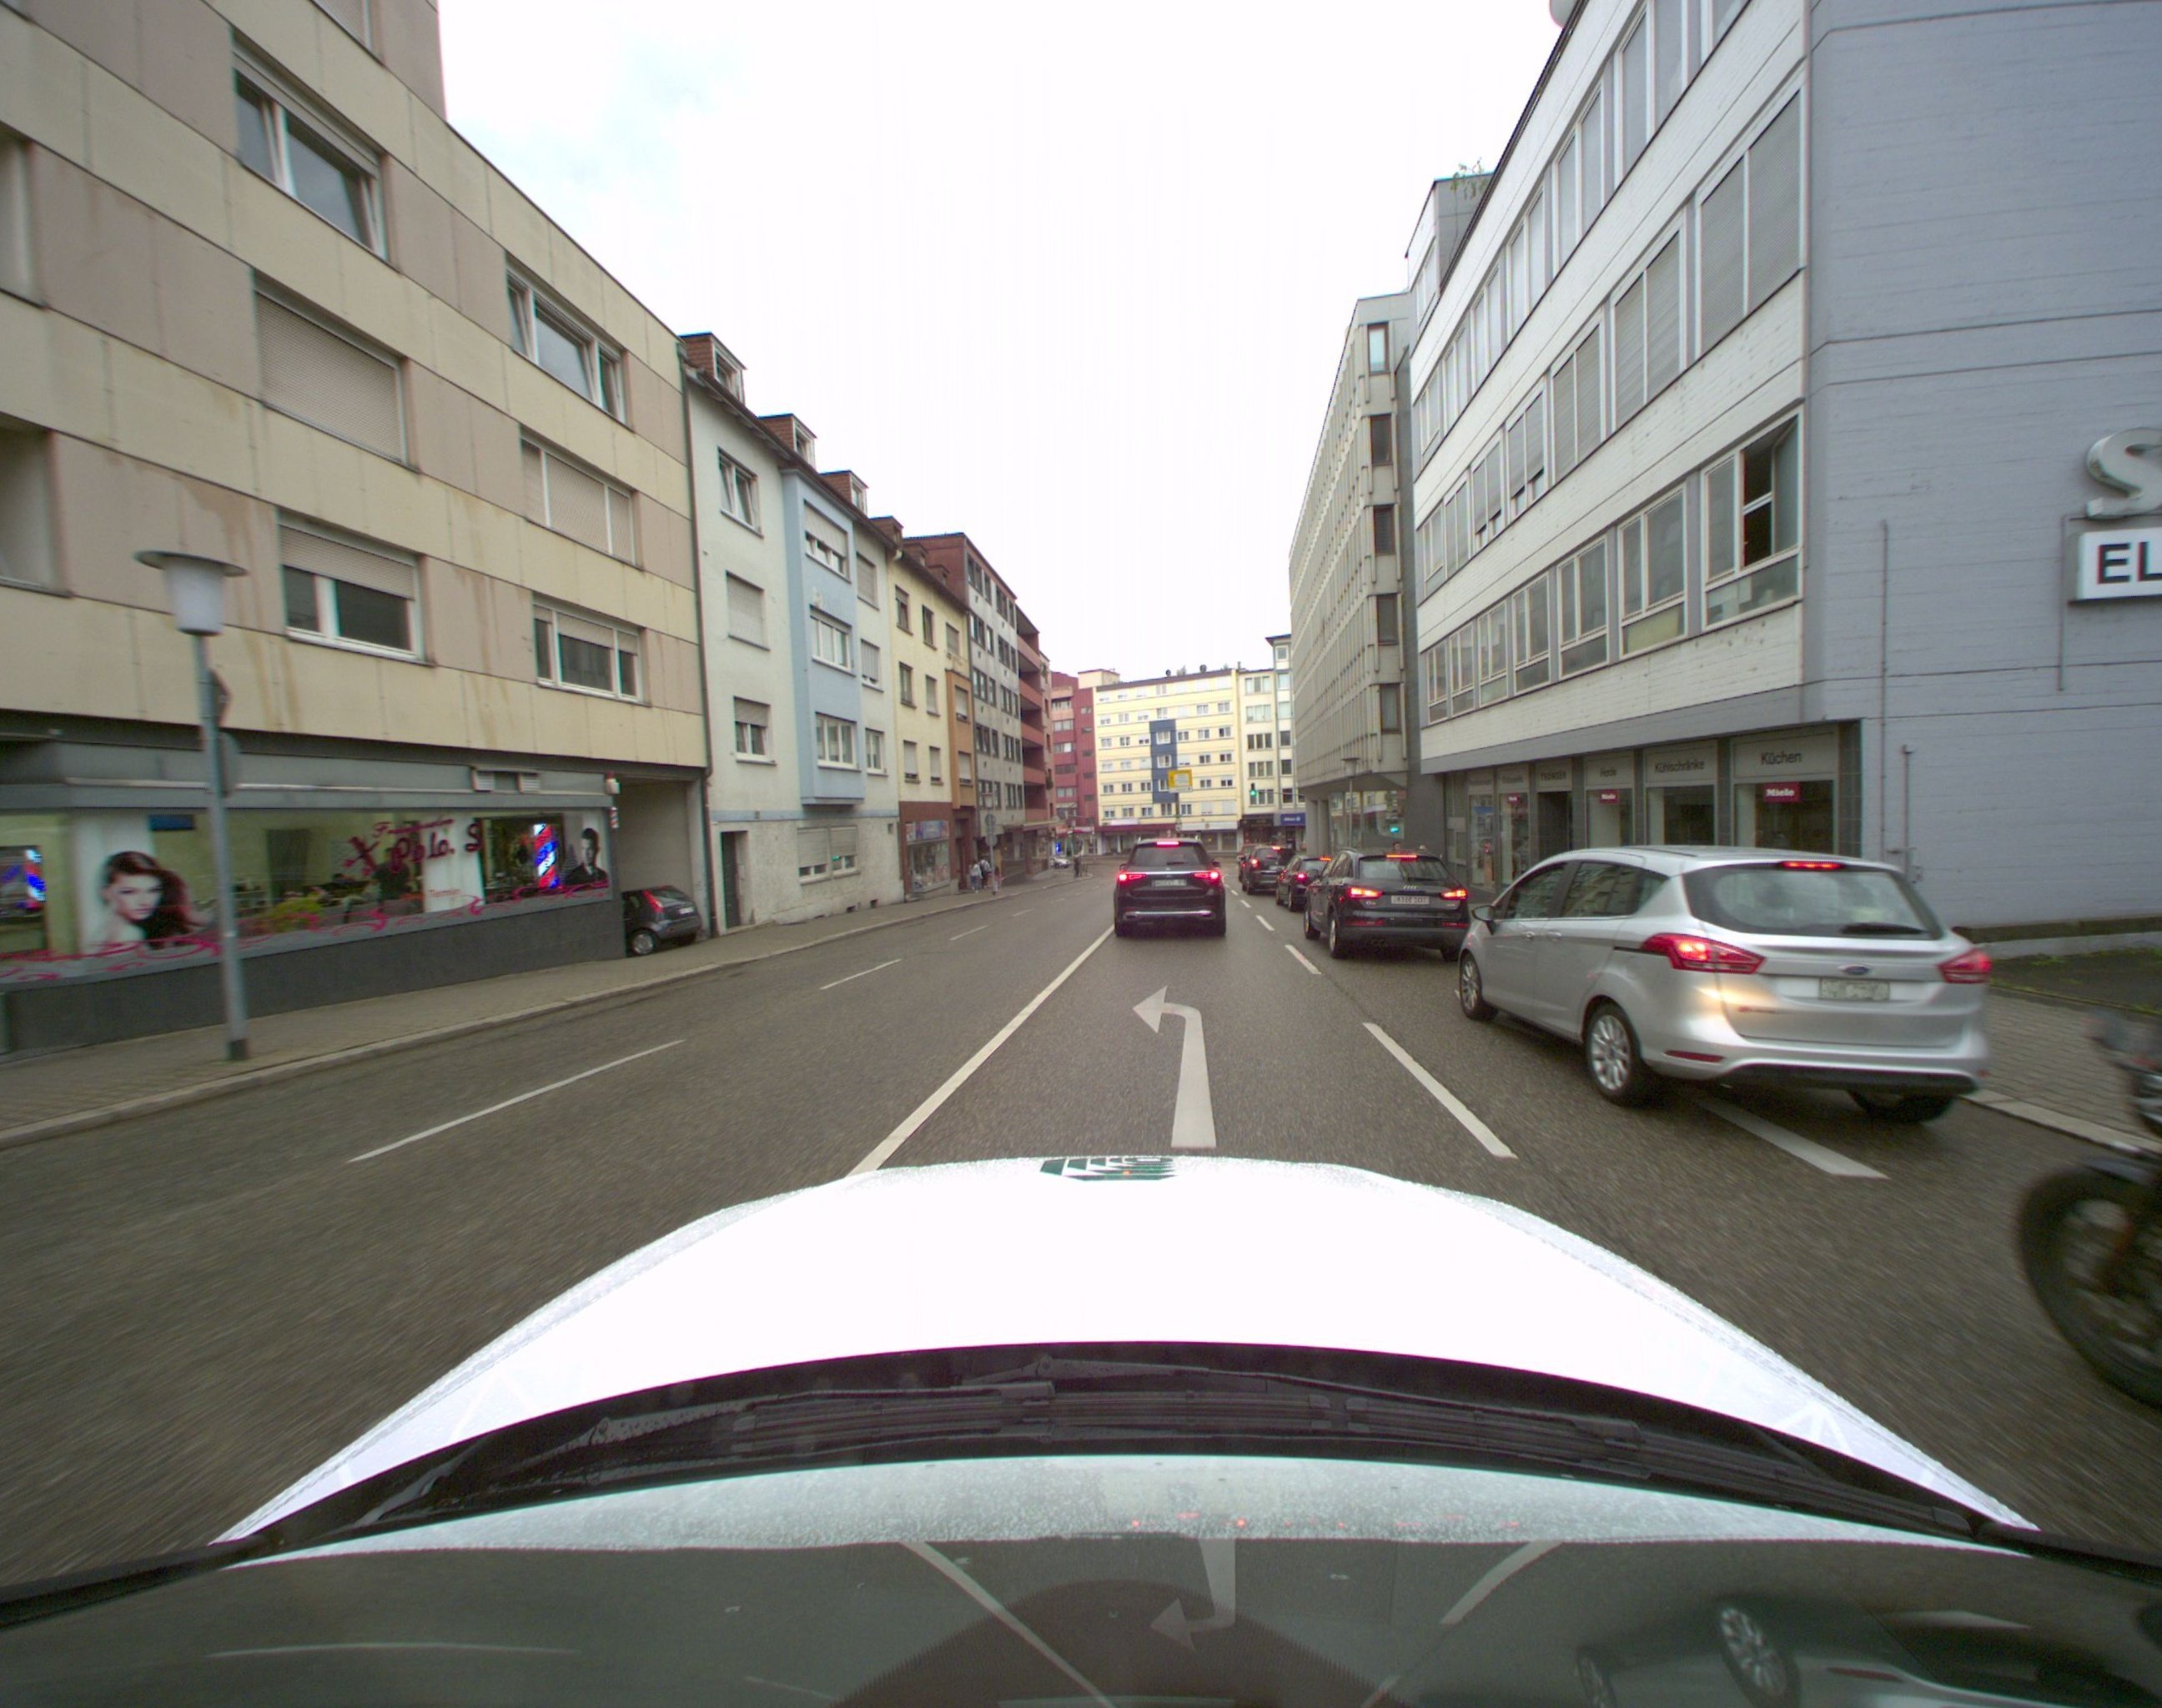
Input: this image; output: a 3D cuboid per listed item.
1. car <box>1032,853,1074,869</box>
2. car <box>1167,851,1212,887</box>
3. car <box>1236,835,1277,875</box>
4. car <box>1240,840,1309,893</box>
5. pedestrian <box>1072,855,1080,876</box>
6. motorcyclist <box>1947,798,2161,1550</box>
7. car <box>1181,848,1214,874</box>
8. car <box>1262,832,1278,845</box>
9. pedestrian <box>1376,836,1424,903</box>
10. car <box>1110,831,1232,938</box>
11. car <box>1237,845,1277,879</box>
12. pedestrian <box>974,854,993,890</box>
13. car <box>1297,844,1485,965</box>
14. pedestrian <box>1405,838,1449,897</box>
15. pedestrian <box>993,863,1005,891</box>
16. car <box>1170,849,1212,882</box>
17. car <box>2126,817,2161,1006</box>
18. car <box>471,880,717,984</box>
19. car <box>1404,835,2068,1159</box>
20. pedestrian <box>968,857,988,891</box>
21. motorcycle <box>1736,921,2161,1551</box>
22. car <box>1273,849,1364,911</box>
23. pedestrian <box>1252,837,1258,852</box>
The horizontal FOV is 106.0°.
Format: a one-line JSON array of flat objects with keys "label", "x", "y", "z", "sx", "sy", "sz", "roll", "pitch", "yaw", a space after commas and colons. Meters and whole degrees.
[{"label": "car", "x": -3.002, "y": 0.751, "z": 87.608, "sx": 4.125, "sy": 1.592, "sz": 1.750, "roll": -1, "pitch": 1, "yaw": 23}, {"label": "car", "x": 4.838, "y": 0.615, "z": 36.520, "sx": 1.863, "sy": 1.494, "sz": 4.409, "roll": -1, "pitch": 0, "yaw": 7}, {"label": "car", "x": 10.511, "y": 0.065, "z": 48.855, "sx": 2.227, "sy": 2.228, "sz": 5.447, "roll": -1, "pitch": 0, "yaw": 12}, {"label": "car", "x": 6.811, "y": 0.392, "z": 29.072, "sx": 1.887, "sy": 1.695, "sz": 4.515, "roll": 1, "pitch": 0, "yaw": 7}, {"label": "pedestrian", "x": -0.397, "y": 0.910, "z": 66.746, "sx": 0.551, "sy": 1.697, "sz": 0.625, "roll": -2, "pitch": 0, "yaw": 4}, {"label": "motorcyclist", "x": 2.709, "y": 0.680, "z": 1.677, "sx": 0.841, "sy": 1.589, "sz": 0.963, "roll": 0, "pitch": 0, "yaw": 3}, {"label": "car", "x": 7.124, "y": 0.453, "z": 49.657, "sx": 1.914, "sy": 1.515, "sz": 4.673, "roll": 0, "pitch": -1, "yaw": 8}, {"label": "car", "x": 25.273, "y": -2.092, "z": 108.821, "sx": 1.783, "sy": 1.670, "sz": 4.018, "roll": -3, "pitch": 0, "yaw": 17}, {"label": "pedestrian", "x": 8.526, "y": 0.404, "z": 21.808, "sx": 0.780, "sy": 1.705, "sz": 1.122, "roll": -5, "pitch": -1, "yaw": 5}, {"label": "car", "x": 1.807, "y": 0.514, "z": 16.251, "sx": 2.028, "sy": 1.799, "sz": 4.672, "roll": -1, "pitch": 0, "yaw": 7}, {"label": "car", "x": 8.875, "y": 0.401, "z": 41.302, "sx": 1.812, "sy": 1.658, "sz": 4.508, "roll": -1, "pitch": -1, "yaw": 10}, {"label": "pedestrian", "x": -4.681, "y": 0.868, "z": 39.077, "sx": 0.825, "sy": 1.689, "sz": 0.723, "roll": 0, "pitch": 0, "yaw": -1}, {"label": "car", "x": 4.589, "y": 0.652, "z": 12.723, "sx": 1.813, "sy": 1.560, "sz": 4.210, "roll": 0, "pitch": 0, "yaw": 7}, {"label": "pedestrian", "x": 9.619, "y": 0.377, "z": 22.685, "sx": 0.762, "sy": 1.551, "sz": 0.892, "roll": -5, "pitch": -1, "yaw": 5}, {"label": "pedestrian", "x": -3.922, "y": 1.095, "z": 39.074, "sx": 0.531, "sy": 1.323, "sz": 0.723, "roll": 0, "pitch": 0, "yaw": -1}, {"label": "car", "x": 5.670, "y": 0.553, "z": 41.734, "sx": 1.982, "sy": 1.486, "sz": 4.247, "roll": -3, "pitch": 0, "yaw": 8}, {"label": "car", "x": 10.394, "y": 0.261, "z": 5.866, "sx": 3.987, "sy": 1.450, "sz": 1.793, "roll": -6, "pitch": 1, "yaw": -9}, {"label": "car", "x": -10.139, "y": 1.590, "z": 17.158, "sx": 3.974, "sy": 1.350, "sz": 1.679, "roll": -9, "pitch": 2, "yaw": 0}, {"label": "car", "x": 4.038, "y": 0.677, "z": 6.128, "sx": 1.818, "sy": 1.541, "sz": 4.258, "roll": 1, "pitch": 0, "yaw": 5}, {"label": "pedestrian", "x": -4.785, "y": 0.934, "z": 37.972, "sx": 0.825, "sy": 1.561, "sz": 0.723, "roll": 0, "pitch": 0, "yaw": -1}, {"label": "motorcycle", "x": 2.712, "y": 0.864, "z": 1.724, "sx": 0.841, "sy": 1.226, "sz": 2.375, "roll": 0, "pitch": 0, "yaw": 3}, {"label": "car", "x": 6.204, "y": 0.612, "z": 21.665, "sx": 1.679, "sy": 1.477, "sz": 4.008, "roll": 1, "pitch": 0, "yaw": 7}, {"label": "pedestrian", "x": 20.630, "y": -1.106, "z": 96.480, "sx": 0.560, "sy": 1.688, "sz": 0.759, "roll": -3, "pitch": 6, "yaw": 14}]
